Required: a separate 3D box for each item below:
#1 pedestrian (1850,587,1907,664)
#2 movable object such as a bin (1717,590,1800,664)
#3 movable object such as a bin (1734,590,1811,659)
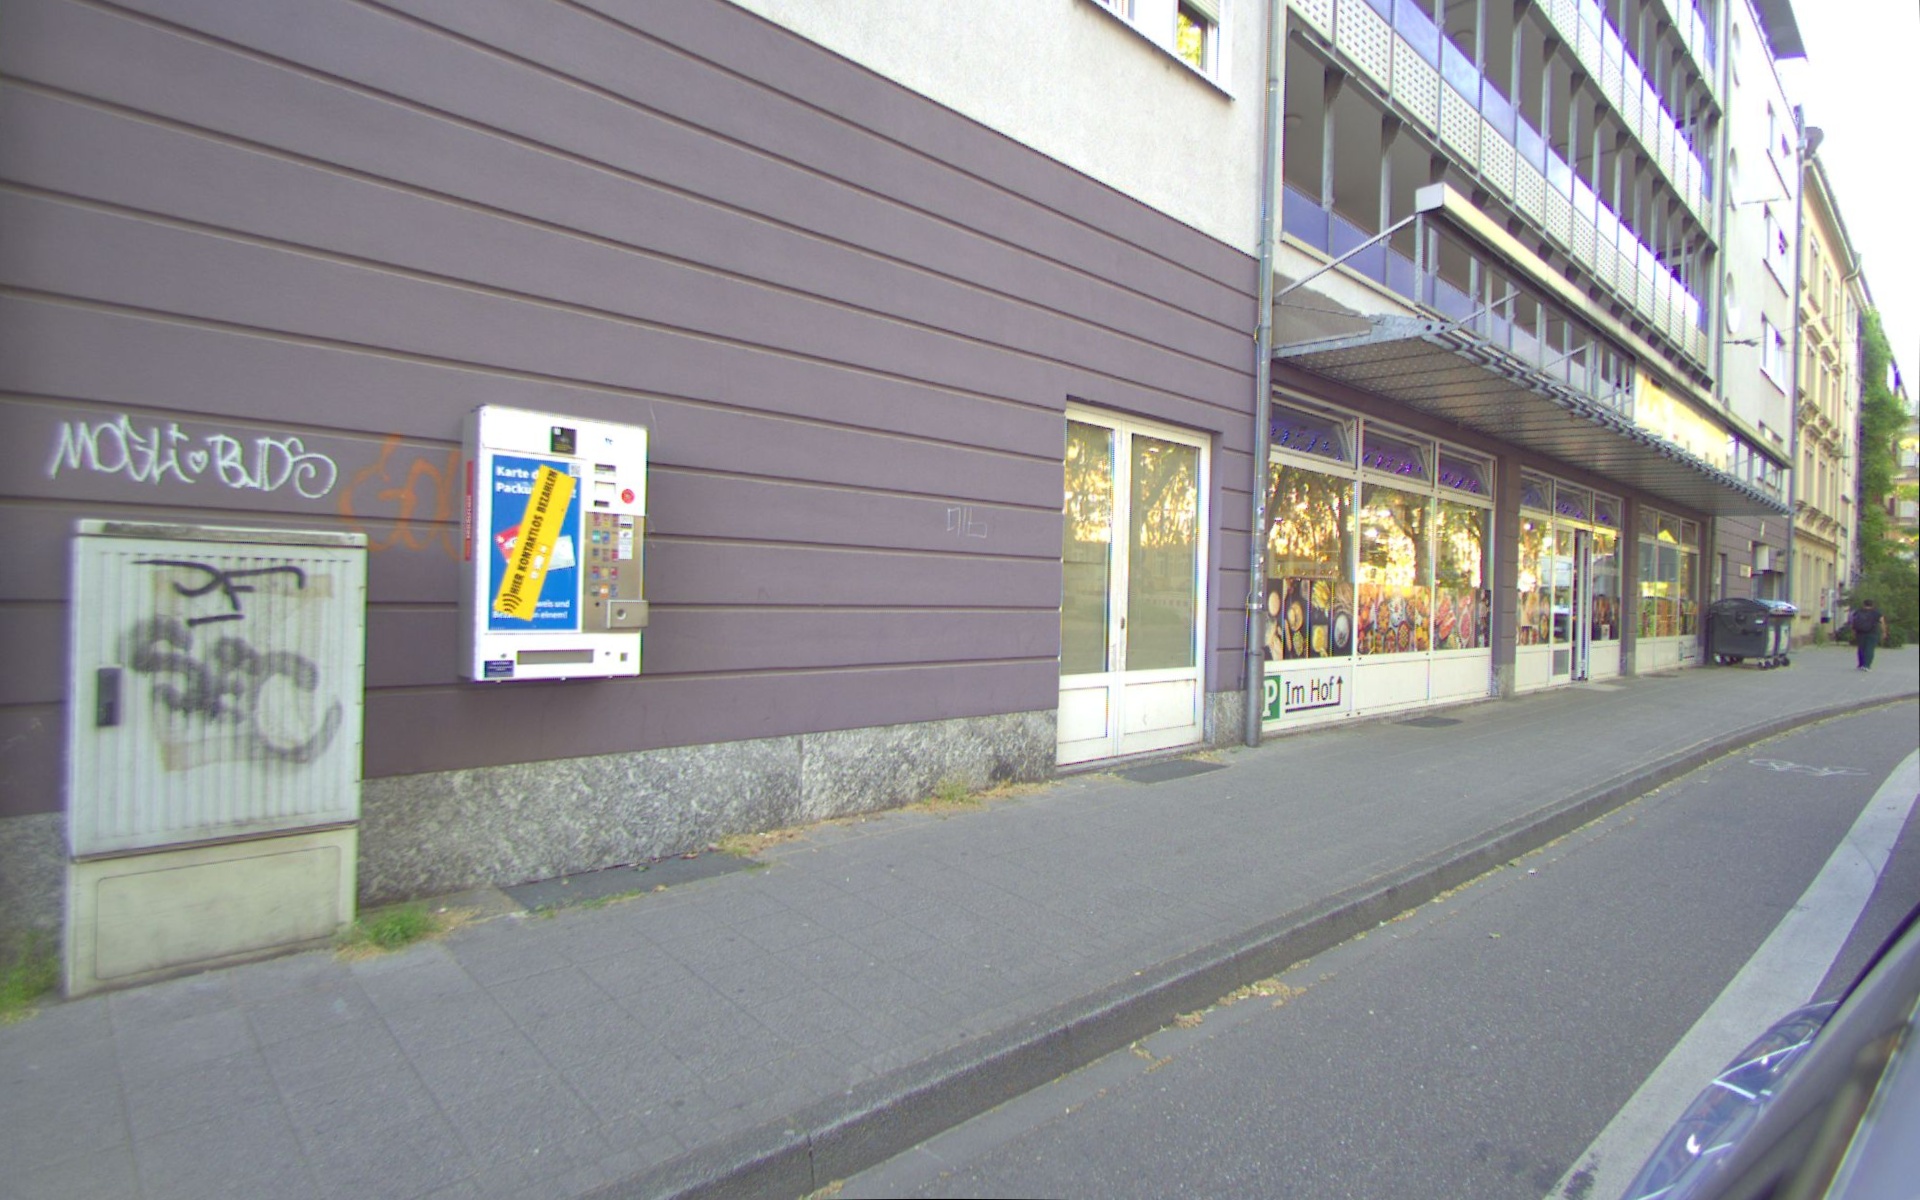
[{"bbox_3d":[19.687,0.529,21.695,0.862,1.612,0.613,2,1,44],"label":"pedestrian"},{"bbox_3d":[16.356,0.539,20.741,0.923,1.444,1.158,1,1,-40],"label":"movable object such as a bin"},{"bbox_3d":[17.783,0.513,22.154,0.923,1.444,1.158,1,1,-40],"label":"movable object such as a bin"}]
